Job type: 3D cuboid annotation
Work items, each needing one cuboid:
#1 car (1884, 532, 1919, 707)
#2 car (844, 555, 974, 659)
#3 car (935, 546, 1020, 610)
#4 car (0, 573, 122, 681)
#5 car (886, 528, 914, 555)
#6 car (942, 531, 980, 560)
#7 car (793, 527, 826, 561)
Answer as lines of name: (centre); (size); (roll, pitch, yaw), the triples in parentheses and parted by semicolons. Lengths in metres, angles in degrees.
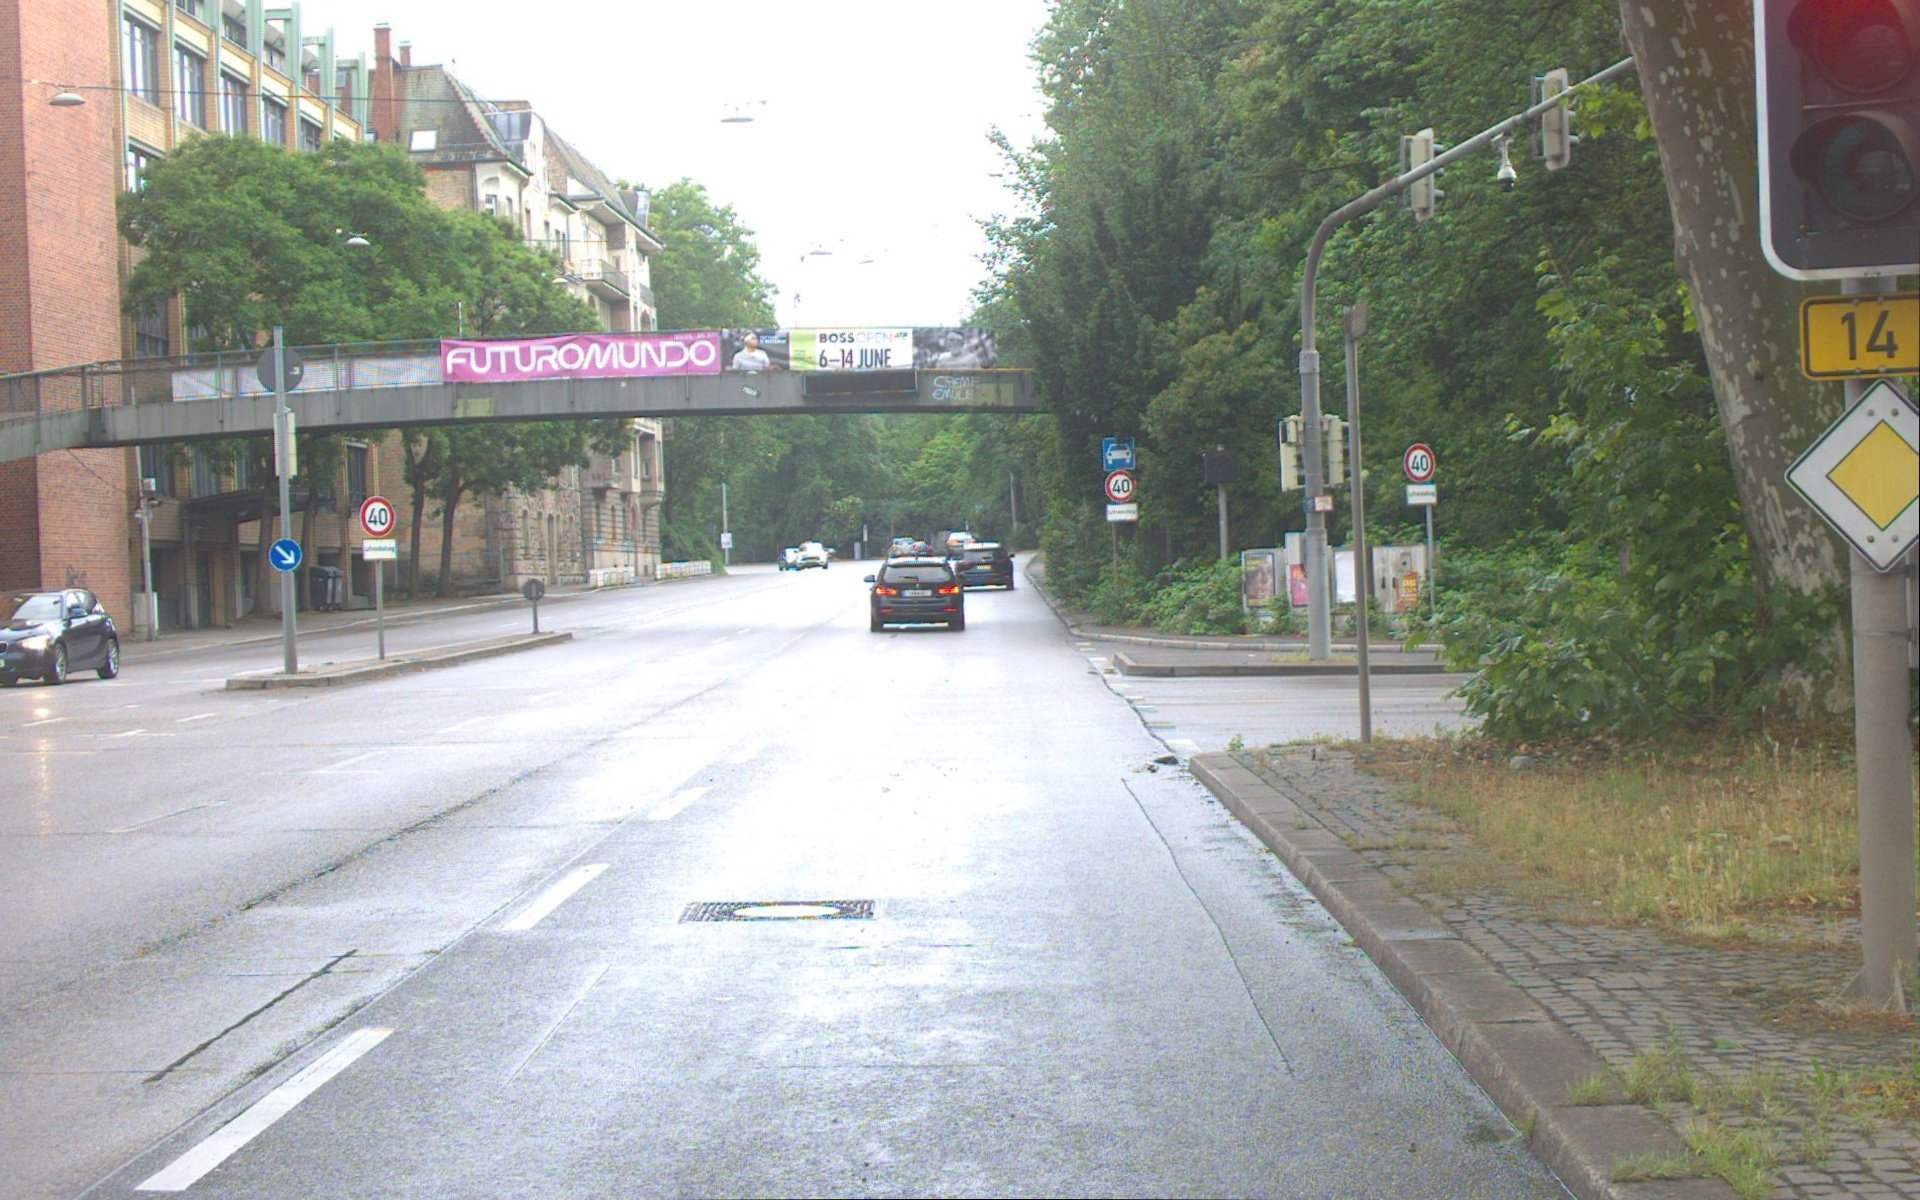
car: (11.238, 0.086, 32.295); (4.509, 1.632, 1.881); (-3, 1, -8)
car: (-1.033, 0.120, 67.008); (2.128, 1.829, 4.354); (-3, 0, -5)
car: (0.516, -0.678, 106.178); (2.128, 1.829, 4.354); (-3, 0, -5)
car: (-13.891, 0.388, 50.789); (1.993, 1.514, 4.000); (-2, 0, 0)
car: (-3.990, -3.873, 229.024); (1.763, 1.691, 3.706); (-3, 0, -1)
car: (0.060, -3.398, 214.805); (2.120, 1.729, 4.199); (0, 2, -3)
car: (-9.116, -3.362, 208.280); (1.763, 1.919, 3.706); (-3, 0, -1)
